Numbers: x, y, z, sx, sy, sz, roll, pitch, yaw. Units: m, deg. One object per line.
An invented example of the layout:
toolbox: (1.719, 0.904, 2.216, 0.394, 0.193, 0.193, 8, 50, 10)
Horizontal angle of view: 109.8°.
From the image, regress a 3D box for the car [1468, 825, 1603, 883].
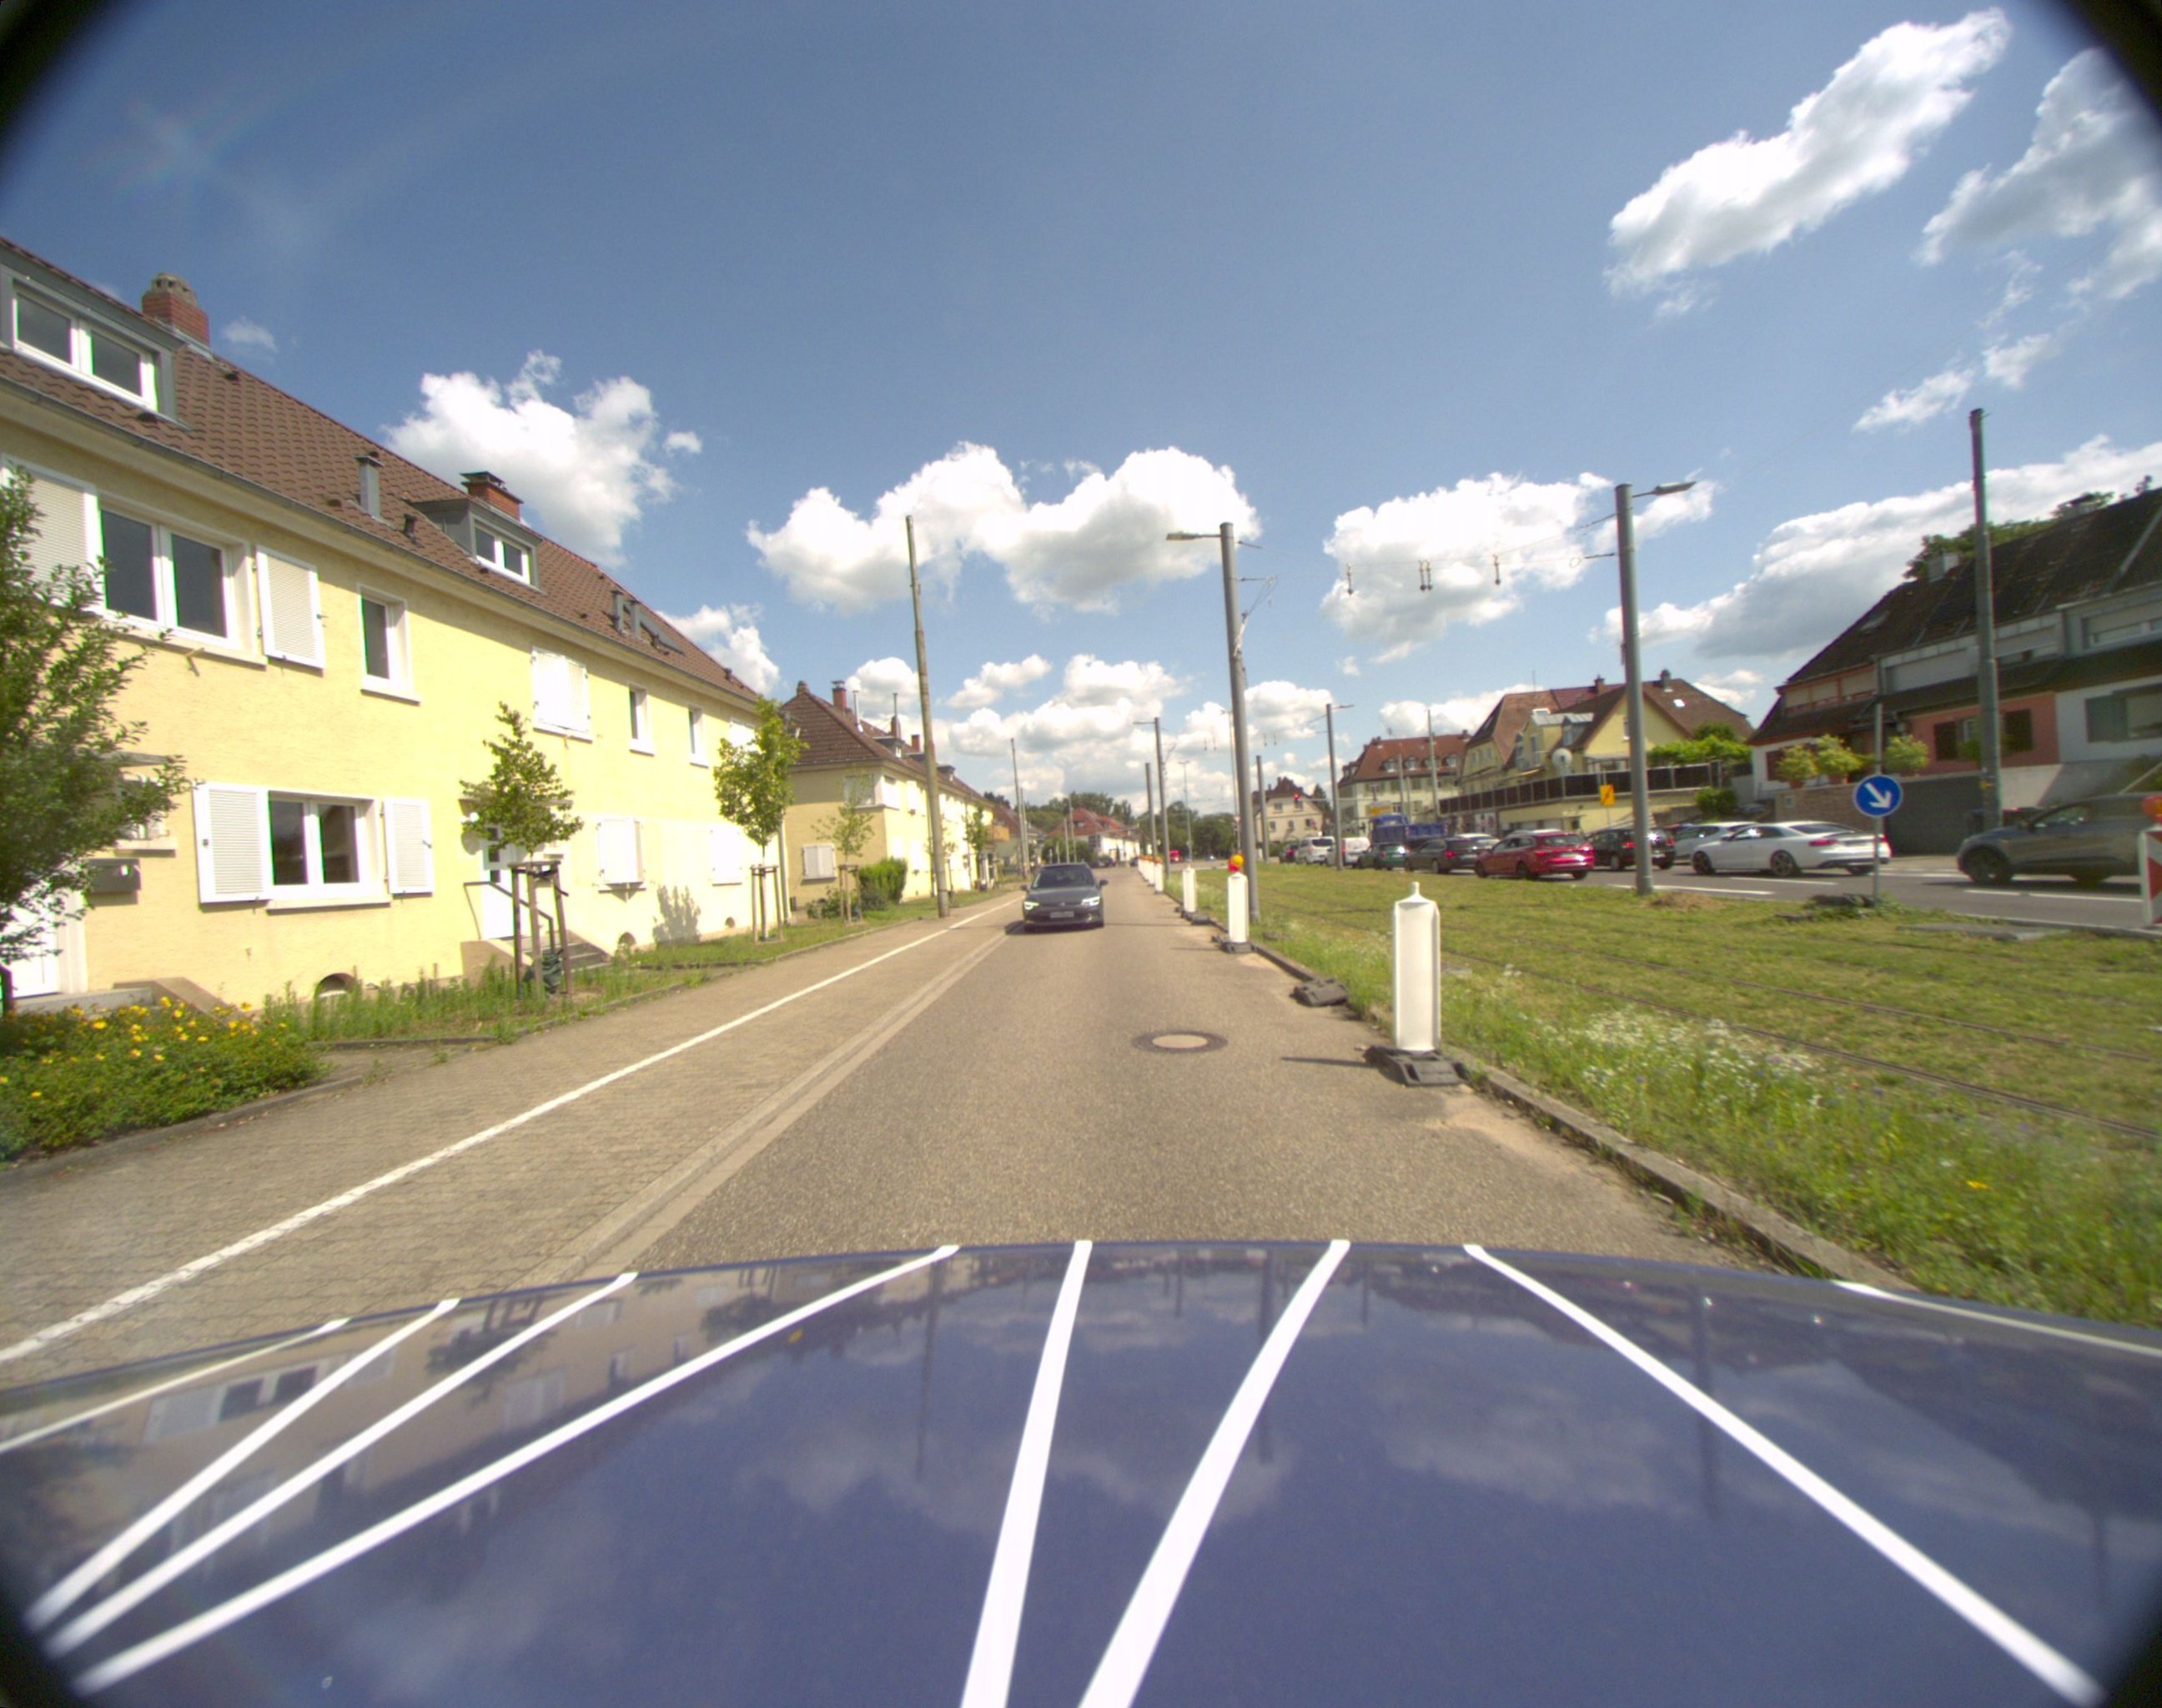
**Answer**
car: (14.361, -0.002, 24.333, 1.729, 1.553, 4.543, -4, 0, 3)

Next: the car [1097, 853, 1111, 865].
car: (3.142, 0.664, 104.795, 1.879, 1.543, 4.985, -4, 0, 1)

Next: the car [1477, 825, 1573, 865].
car: (19.536, -0.371, 33.661, 1.729, 1.553, 4.543, -4, 0, 3)

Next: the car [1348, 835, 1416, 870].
car: (15.164, -0.075, 38.518, 1.729, 1.553, 4.542, -4, 0, 2)

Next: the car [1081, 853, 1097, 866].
car: (1.057, 0.672, 96.125, 1.879, 1.543, 4.985, -4, 0, 1)

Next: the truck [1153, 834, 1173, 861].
truck: (16.996, -1.281, 156.105, 3.475, 5.153, 14.224, -4, 0, 7)

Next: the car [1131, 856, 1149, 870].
car: (7.597, 1.140, 98.214, 1.879, 1.543, 4.985, -4, 0, 1)

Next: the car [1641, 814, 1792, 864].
car: (22.582, -0.494, 27.284, 1.729, 1.553, 4.543, -4, 0, 3)

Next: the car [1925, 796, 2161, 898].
car: (17.374, -0.160, 12.667, 1.728, 1.518, 4.773, -4, 0, 8)

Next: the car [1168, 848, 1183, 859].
car: (16.429, -0.104, 132.149, 2.283, 1.861, 4.988, -4, 0, 9)

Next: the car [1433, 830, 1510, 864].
car: (20.207, -0.358, 39.526, 1.729, 1.553, 4.542, -4, 0, 2)

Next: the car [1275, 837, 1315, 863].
car: (16.612, -0.309, 59.099, 1.922, 1.770, 4.542, -4, 0, 2)

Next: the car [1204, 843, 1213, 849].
car: (32.798, -2.048, 195.759, 1.721, 1.582, 4.174, -4, 0, 5)

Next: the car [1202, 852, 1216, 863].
car: (24.230, 0.561, 143.649, 2.283, 1.861, 4.989, -4, 0, 10)

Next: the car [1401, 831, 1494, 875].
car: (14.935, -0.047, 31.277, 1.729, 1.553, 4.645, -4, 0, 3)

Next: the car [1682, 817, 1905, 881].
car: (18.015, -0.122, 19.567, 1.729, 1.327, 4.543, -4, 0, 5)

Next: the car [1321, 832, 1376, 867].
car: (15.770, -0.252, 45.041, 1.729, 1.843, 4.542, -4, 0, 2)

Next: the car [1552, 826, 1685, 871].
car: (18.664, -0.178, 26.667, 1.729, 1.327, 4.543, -4, 0, 5)

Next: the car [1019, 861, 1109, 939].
car: (-0.271, 0.984, 18.187, 1.742, 1.513, 4.703, -1, 0, 3)

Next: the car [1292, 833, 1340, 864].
car: (16.215, -0.363, 52.643, 1.922, 1.953, 4.542, -4, 0, 2)

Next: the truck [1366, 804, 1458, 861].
truck: (20.672, -1.248, 48.012, 2.842, 3.135, 7.936, -4, 0, 5)
